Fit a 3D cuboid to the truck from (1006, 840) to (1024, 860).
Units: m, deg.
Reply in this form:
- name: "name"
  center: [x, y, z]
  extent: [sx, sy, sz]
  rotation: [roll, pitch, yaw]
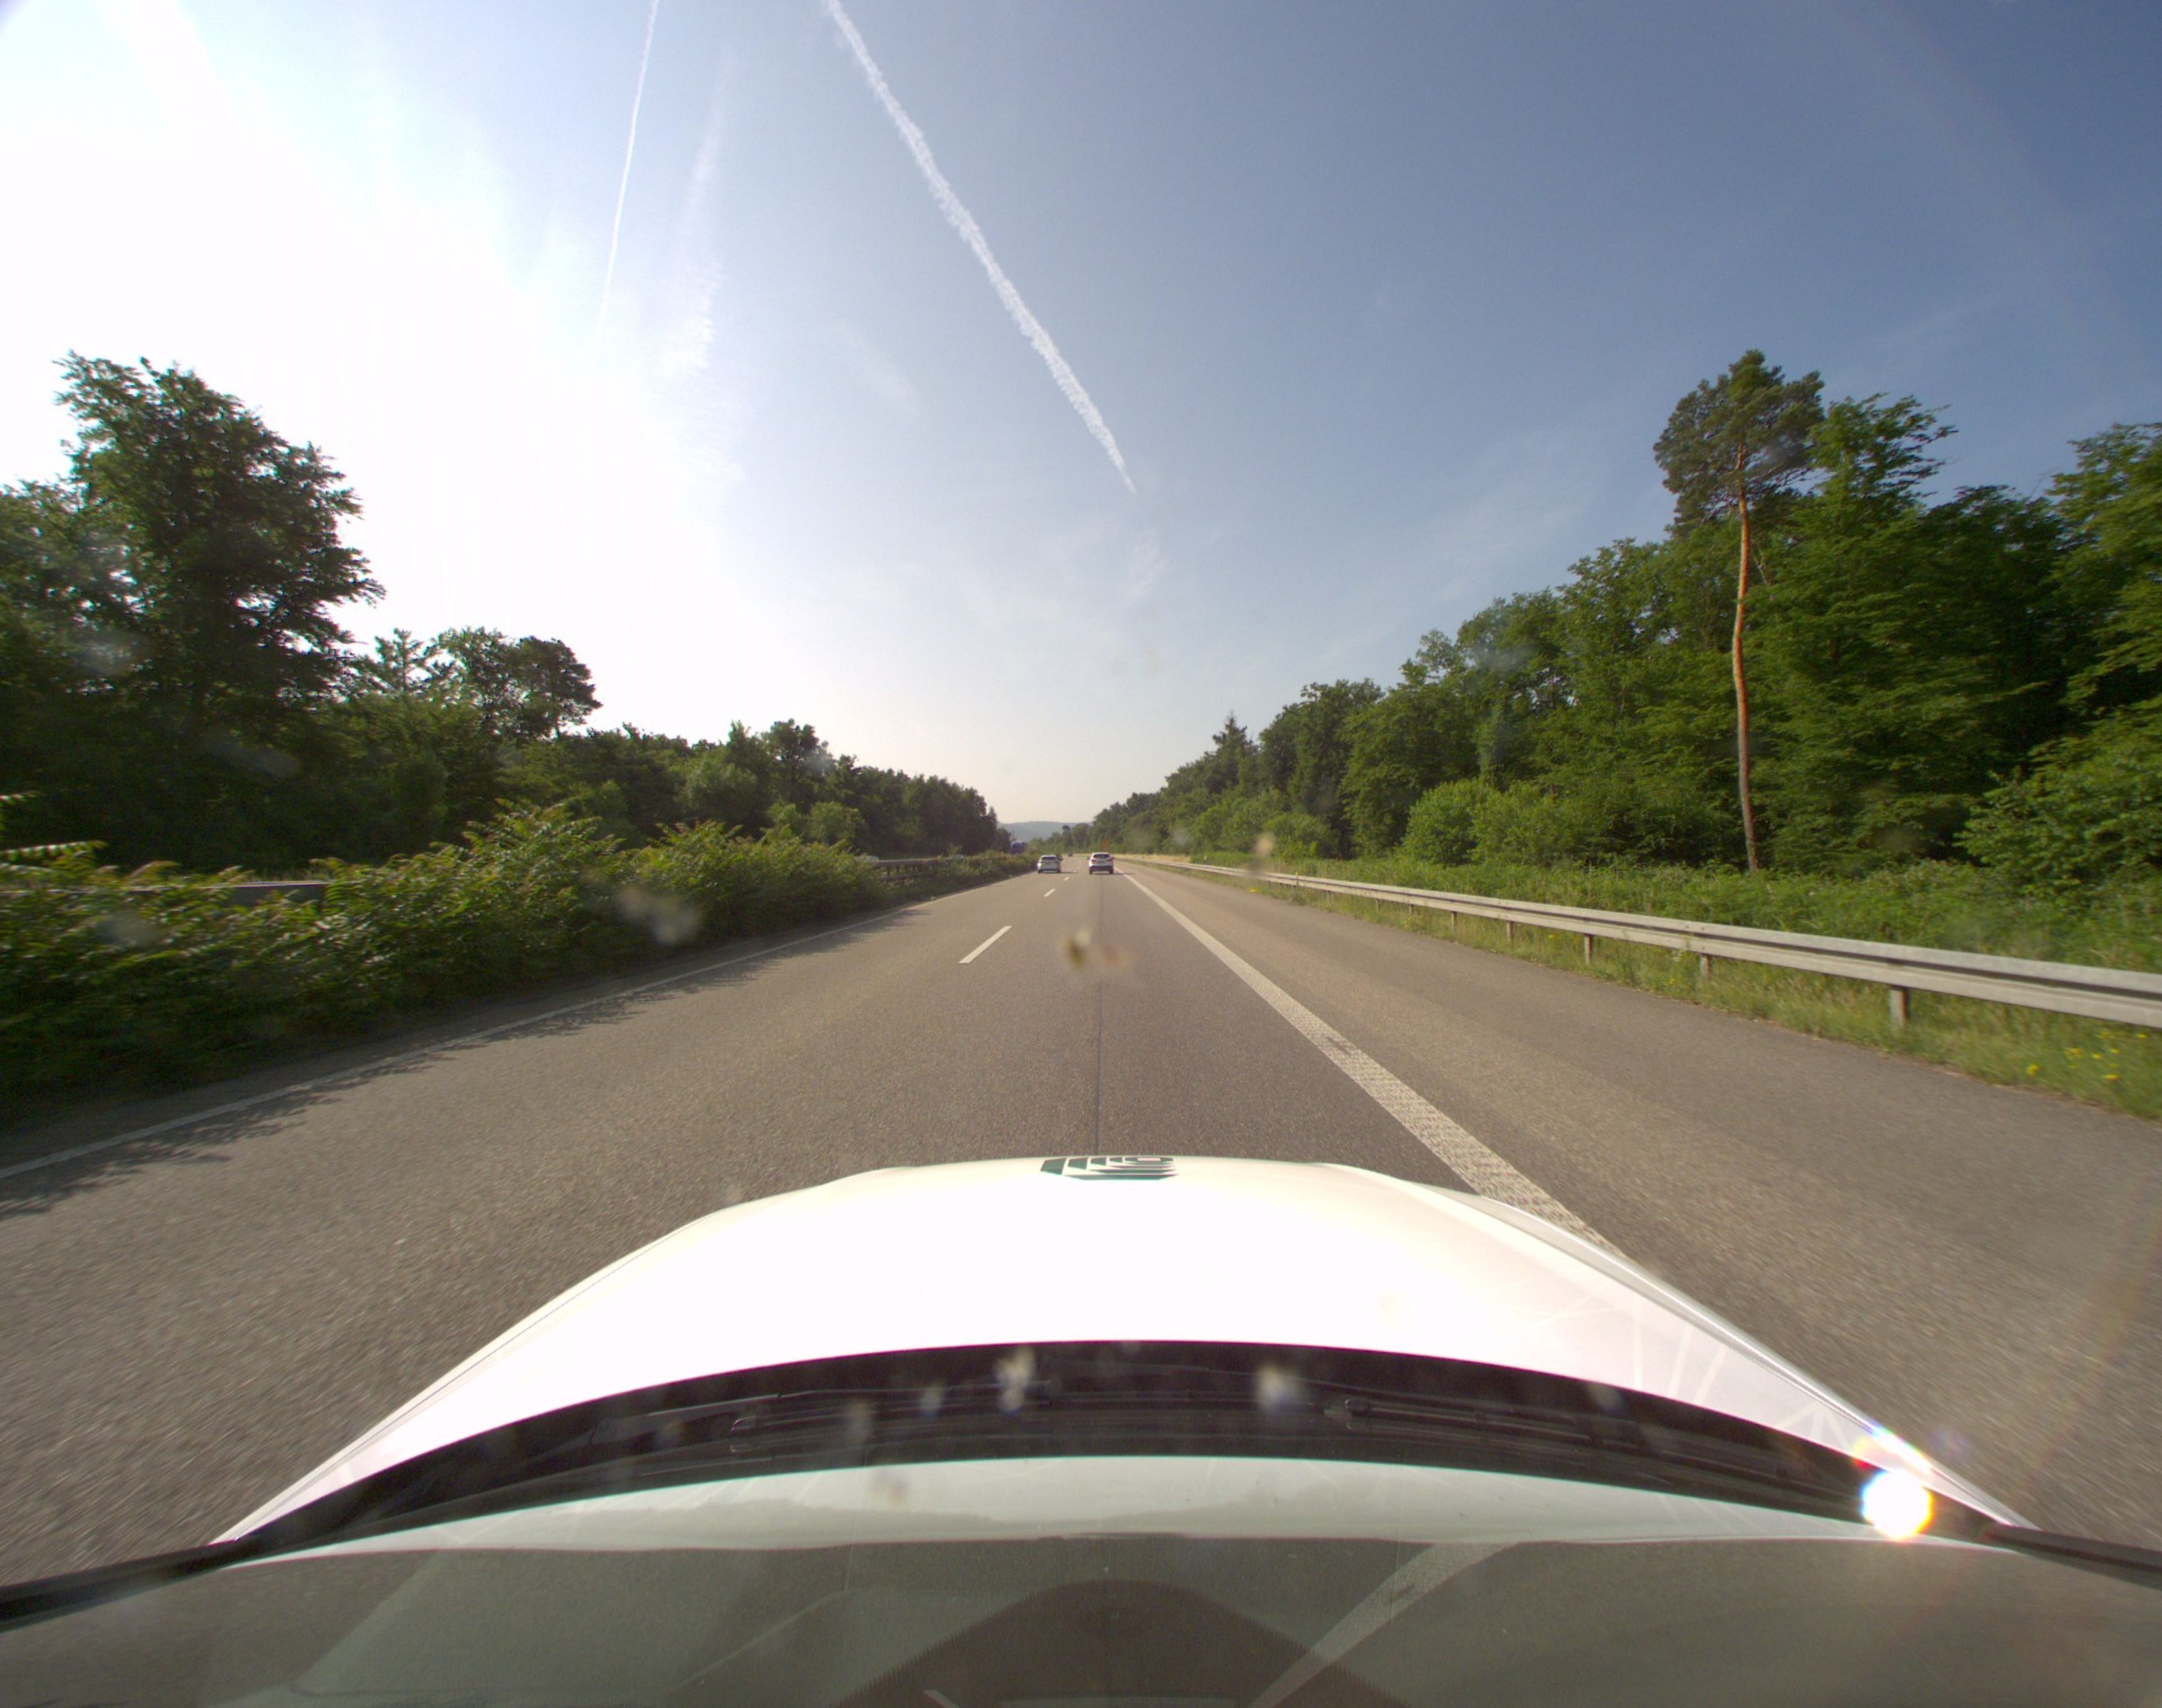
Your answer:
- name: "truck"
  center: [-13.333, -0.761, 164.758]
  extent: [2.775, 3.998, 8.417]
  rotation: [-1, 0, 1]

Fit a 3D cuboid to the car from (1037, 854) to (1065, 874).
- name: "car"
  center: [-2.404, 0.779, 66.472]
  extent: [1.785, 1.438, 5.282]
  rotation: [-1, 0, 2]

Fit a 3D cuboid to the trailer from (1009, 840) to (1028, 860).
- name: "trailer"
  center: [-13.195, -0.798, 172.741]
  extent: [2.822, 3.998, 11.435]
  rotation: [-1, 0, 1]

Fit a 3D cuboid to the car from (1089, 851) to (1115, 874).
- name: "car"
  center: [1.570, 0.636, 60.914]
  extent: [1.867, 1.586, 4.000]
  rotation: [1, 1, 1]
